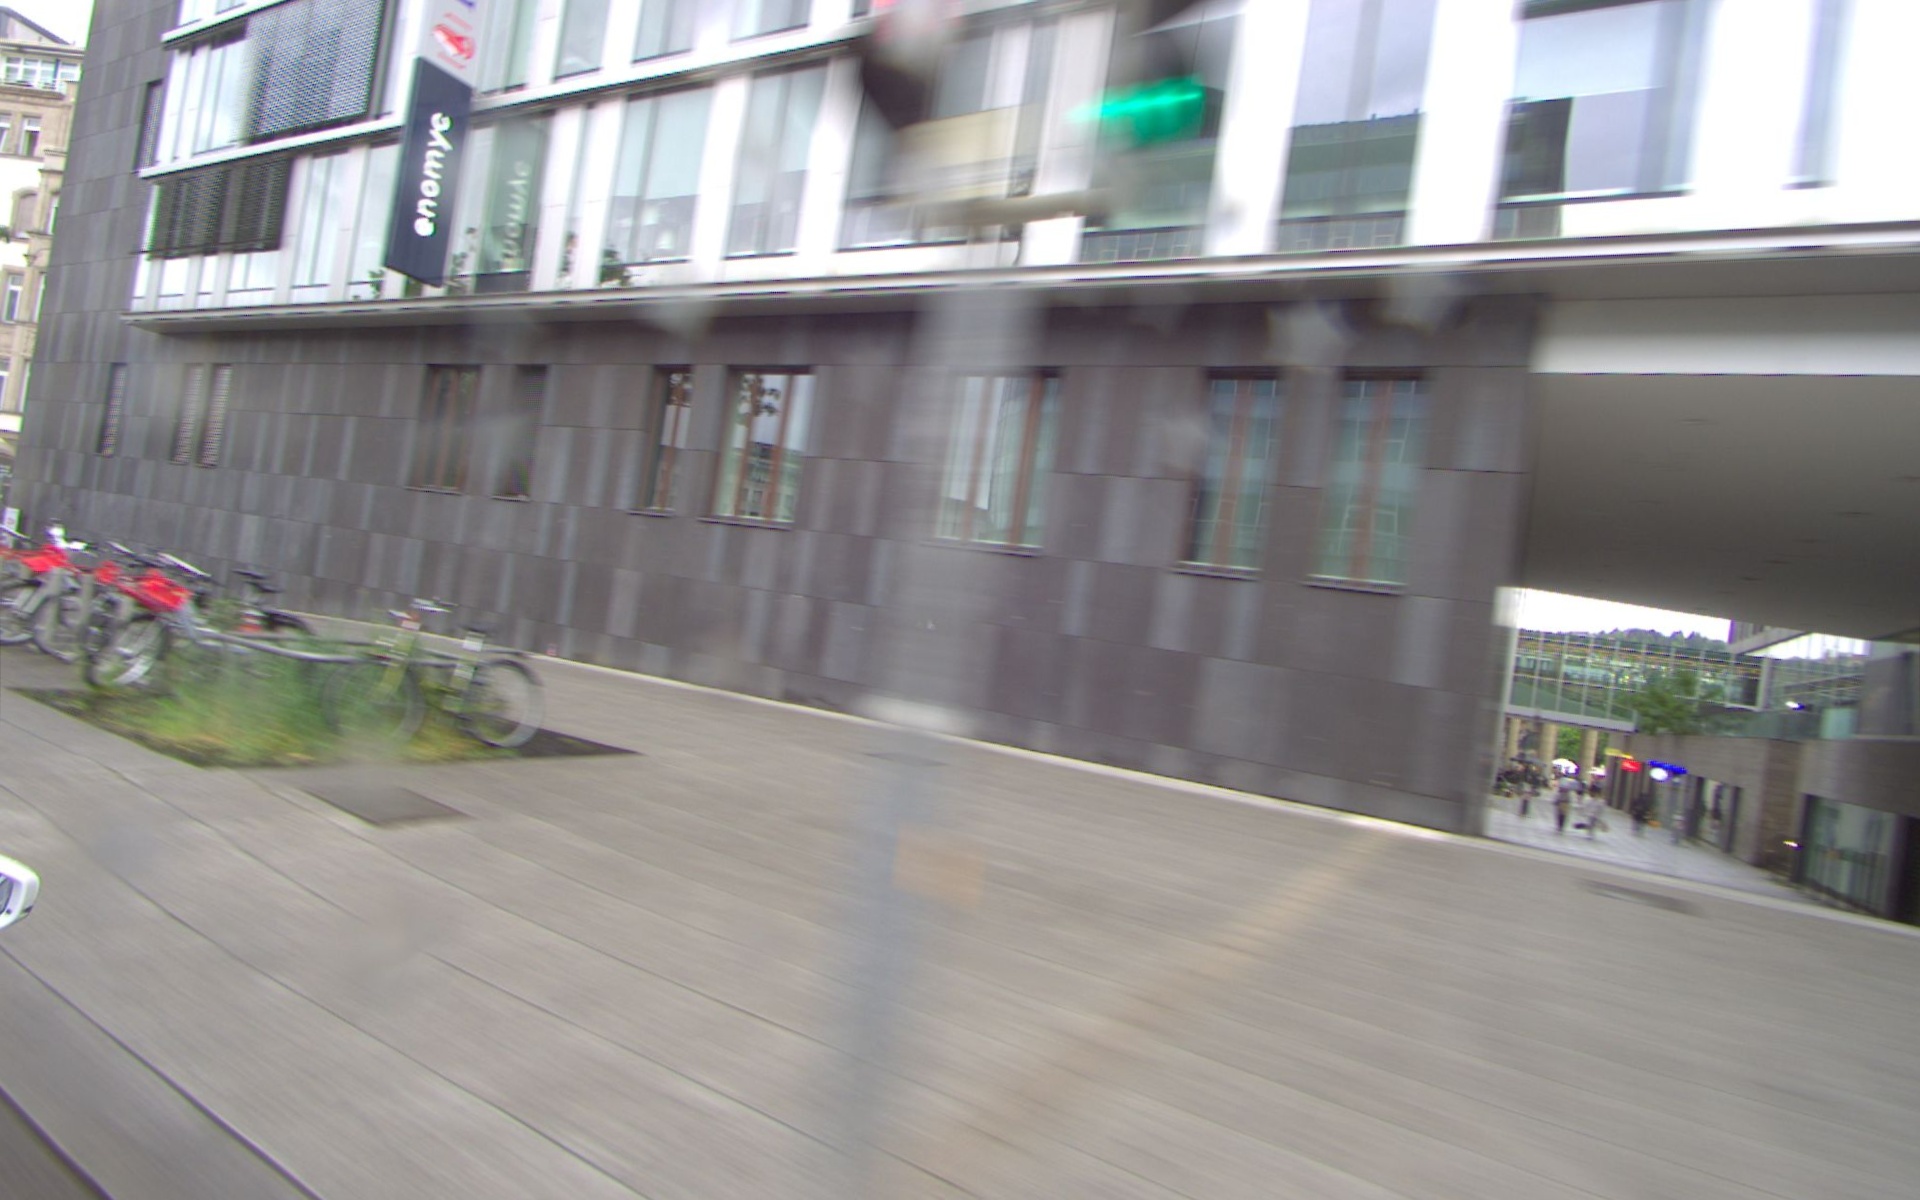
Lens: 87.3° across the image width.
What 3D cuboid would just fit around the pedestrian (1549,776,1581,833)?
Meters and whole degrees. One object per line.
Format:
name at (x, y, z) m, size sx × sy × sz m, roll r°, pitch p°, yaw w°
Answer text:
pedestrian at (20.758, 7.005, 34.529) m, size 0.689 × 1.795 × 0.593 m, roll 7°, pitch -3°, yaw 26°

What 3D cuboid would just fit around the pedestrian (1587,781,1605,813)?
pedestrian at (38.768, 12.025, 61.364) m, size 0.689 × 1.795 × 0.593 m, roll 7°, pitch -3°, yaw 26°

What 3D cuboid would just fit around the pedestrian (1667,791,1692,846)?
pedestrian at (27.177, 8.250, 38.009) m, size 0.557 × 1.935 × 0.661 m, roll 6°, pitch -4°, yaw 34°

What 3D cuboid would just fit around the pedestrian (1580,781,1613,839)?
pedestrian at (21.584, 7.097, 34.121) m, size 0.689 × 1.795 × 0.593 m, roll 7°, pitch -3°, yaw 26°

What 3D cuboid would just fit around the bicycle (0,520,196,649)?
bicycle at (-9.142, -0.141, 10.427) m, size 0.677 × 1.153 × 1.735 m, roll 7°, pitch -1°, yaw 24°

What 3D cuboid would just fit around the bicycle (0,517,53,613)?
bicycle at (-12.472, -0.520, 12.395) m, size 0.677 × 1.153 × 1.712 m, roll 6°, pitch -3°, yaw 24°

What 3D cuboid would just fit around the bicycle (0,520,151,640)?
bicycle at (-9.892, -0.228, 10.740) m, size 0.677 × 1.153 × 1.735 m, roll 7°, pitch -1°, yaw 24°

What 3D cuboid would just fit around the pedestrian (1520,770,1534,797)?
pedestrian at (39.941, 12.922, 70.857) m, size 0.689 × 1.795 × 0.593 m, roll 7°, pitch -3°, yaw 26°

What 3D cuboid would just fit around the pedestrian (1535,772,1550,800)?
pedestrian at (40.748, 13.006, 70.422) m, size 0.689 × 1.795 × 0.593 m, roll 7°, pitch -3°, yaw 26°

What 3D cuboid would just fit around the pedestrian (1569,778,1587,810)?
pedestrian at (37.913, 11.890, 61.745) m, size 0.689 × 1.843 × 0.593 m, roll 7°, pitch -3°, yaw 26°

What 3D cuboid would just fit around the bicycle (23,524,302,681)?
bicycle at (-7.023, 0.074, 8.971) m, size 0.677 × 1.197 × 1.735 m, roll 7°, pitch -1°, yaw 24°

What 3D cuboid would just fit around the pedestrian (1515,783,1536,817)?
pedestrian at (22.468, 7.943, 39.979) m, size 0.556 × 1.257 × 0.463 m, roll 7°, pitch -3°, yaw 26°

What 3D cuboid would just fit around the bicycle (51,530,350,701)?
bicycle at (-6.114, 0.174, 8.228) m, size 0.677 × 1.197 × 1.735 m, roll 7°, pitch -1°, yaw 24°

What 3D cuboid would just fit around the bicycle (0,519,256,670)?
bicycle at (-7.740, -0.004, 9.371) m, size 0.677 × 1.197 × 1.735 m, roll 7°, pitch -1°, yaw 24°

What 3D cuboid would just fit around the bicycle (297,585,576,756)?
bicycle at (-3.887, 0.540, 7.639) m, size 0.677 × 1.082 × 1.735 m, roll 7°, pitch -1°, yaw 24°

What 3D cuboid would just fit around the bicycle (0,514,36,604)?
bicycle at (-13.065, -0.623, 12.914) m, size 0.677 × 1.153 × 1.540 m, roll 6°, pitch -3°, yaw 24°

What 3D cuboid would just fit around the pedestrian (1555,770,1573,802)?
pedestrian at (37.306, 11.479, 62.142) m, size 0.689 × 1.843 × 0.593 m, roll 7°, pitch -3°, yaw 26°

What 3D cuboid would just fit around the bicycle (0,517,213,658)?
bicycle at (-8.526, -0.093, 9.850) m, size 0.677 × 1.197 × 1.735 m, roll 7°, pitch -1°, yaw 24°

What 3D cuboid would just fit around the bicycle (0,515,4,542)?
bicycle at (-13.775, -0.692, 13.201) m, size 0.677 × 1.153 × 1.540 m, roll 6°, pitch -3°, yaw 24°

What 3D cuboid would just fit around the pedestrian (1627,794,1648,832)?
pedestrian at (27.625, 8.671, 41.008) m, size 0.557 × 1.432 × 0.462 m, roll 6°, pitch -4°, yaw 34°
